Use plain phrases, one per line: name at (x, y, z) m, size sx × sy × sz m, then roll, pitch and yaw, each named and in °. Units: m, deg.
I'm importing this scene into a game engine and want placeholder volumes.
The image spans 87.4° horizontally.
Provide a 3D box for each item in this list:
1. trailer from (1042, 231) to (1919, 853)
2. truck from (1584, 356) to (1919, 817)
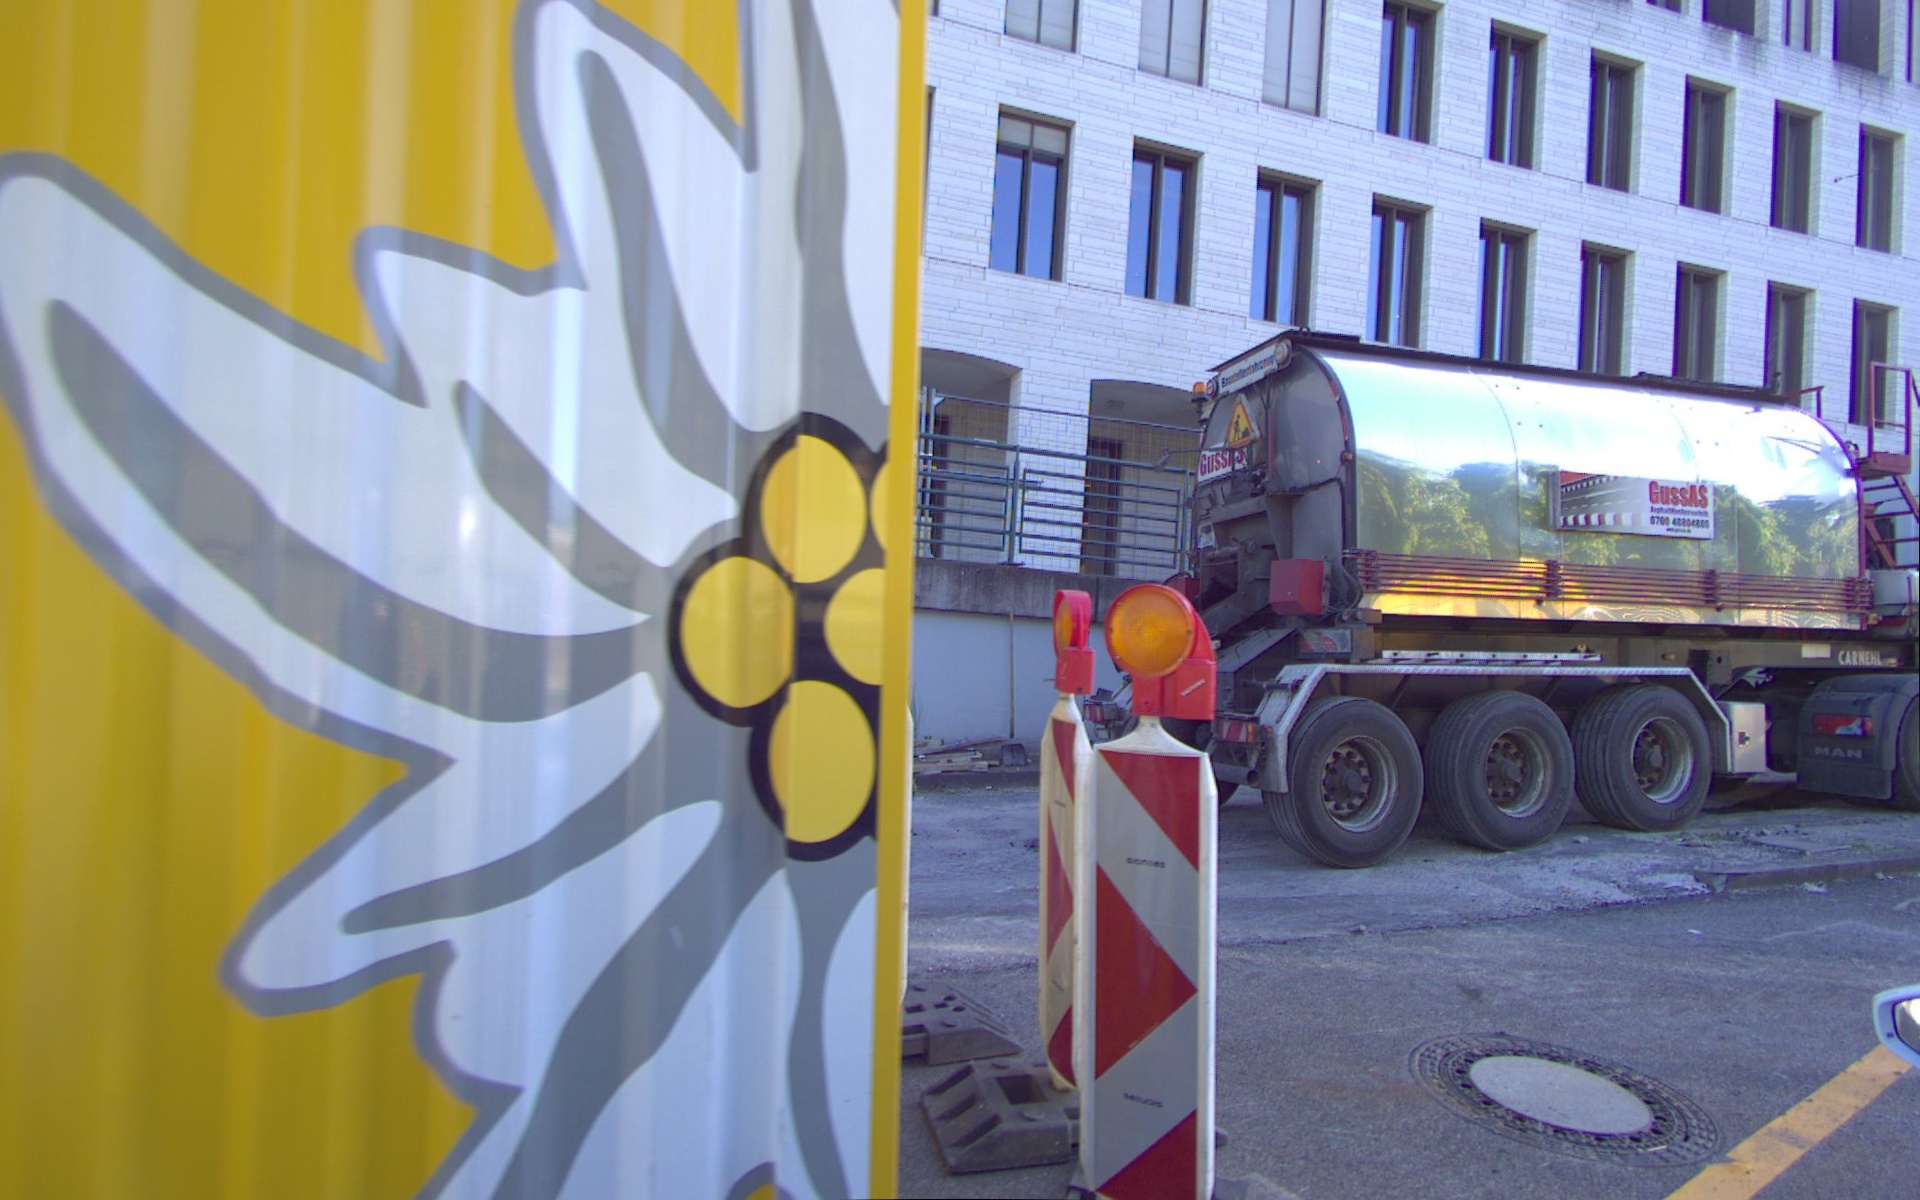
trailer at (5.180, -0.155, 8.525) m, size 8.608 × 3.715 × 2.642 m, roll 2°, pitch -5°, yaw -18°
truck at (9.480, 0.045, 9.698) m, size 5.719 × 3.534 × 2.581 m, roll 1°, pitch -5°, yaw -16°
